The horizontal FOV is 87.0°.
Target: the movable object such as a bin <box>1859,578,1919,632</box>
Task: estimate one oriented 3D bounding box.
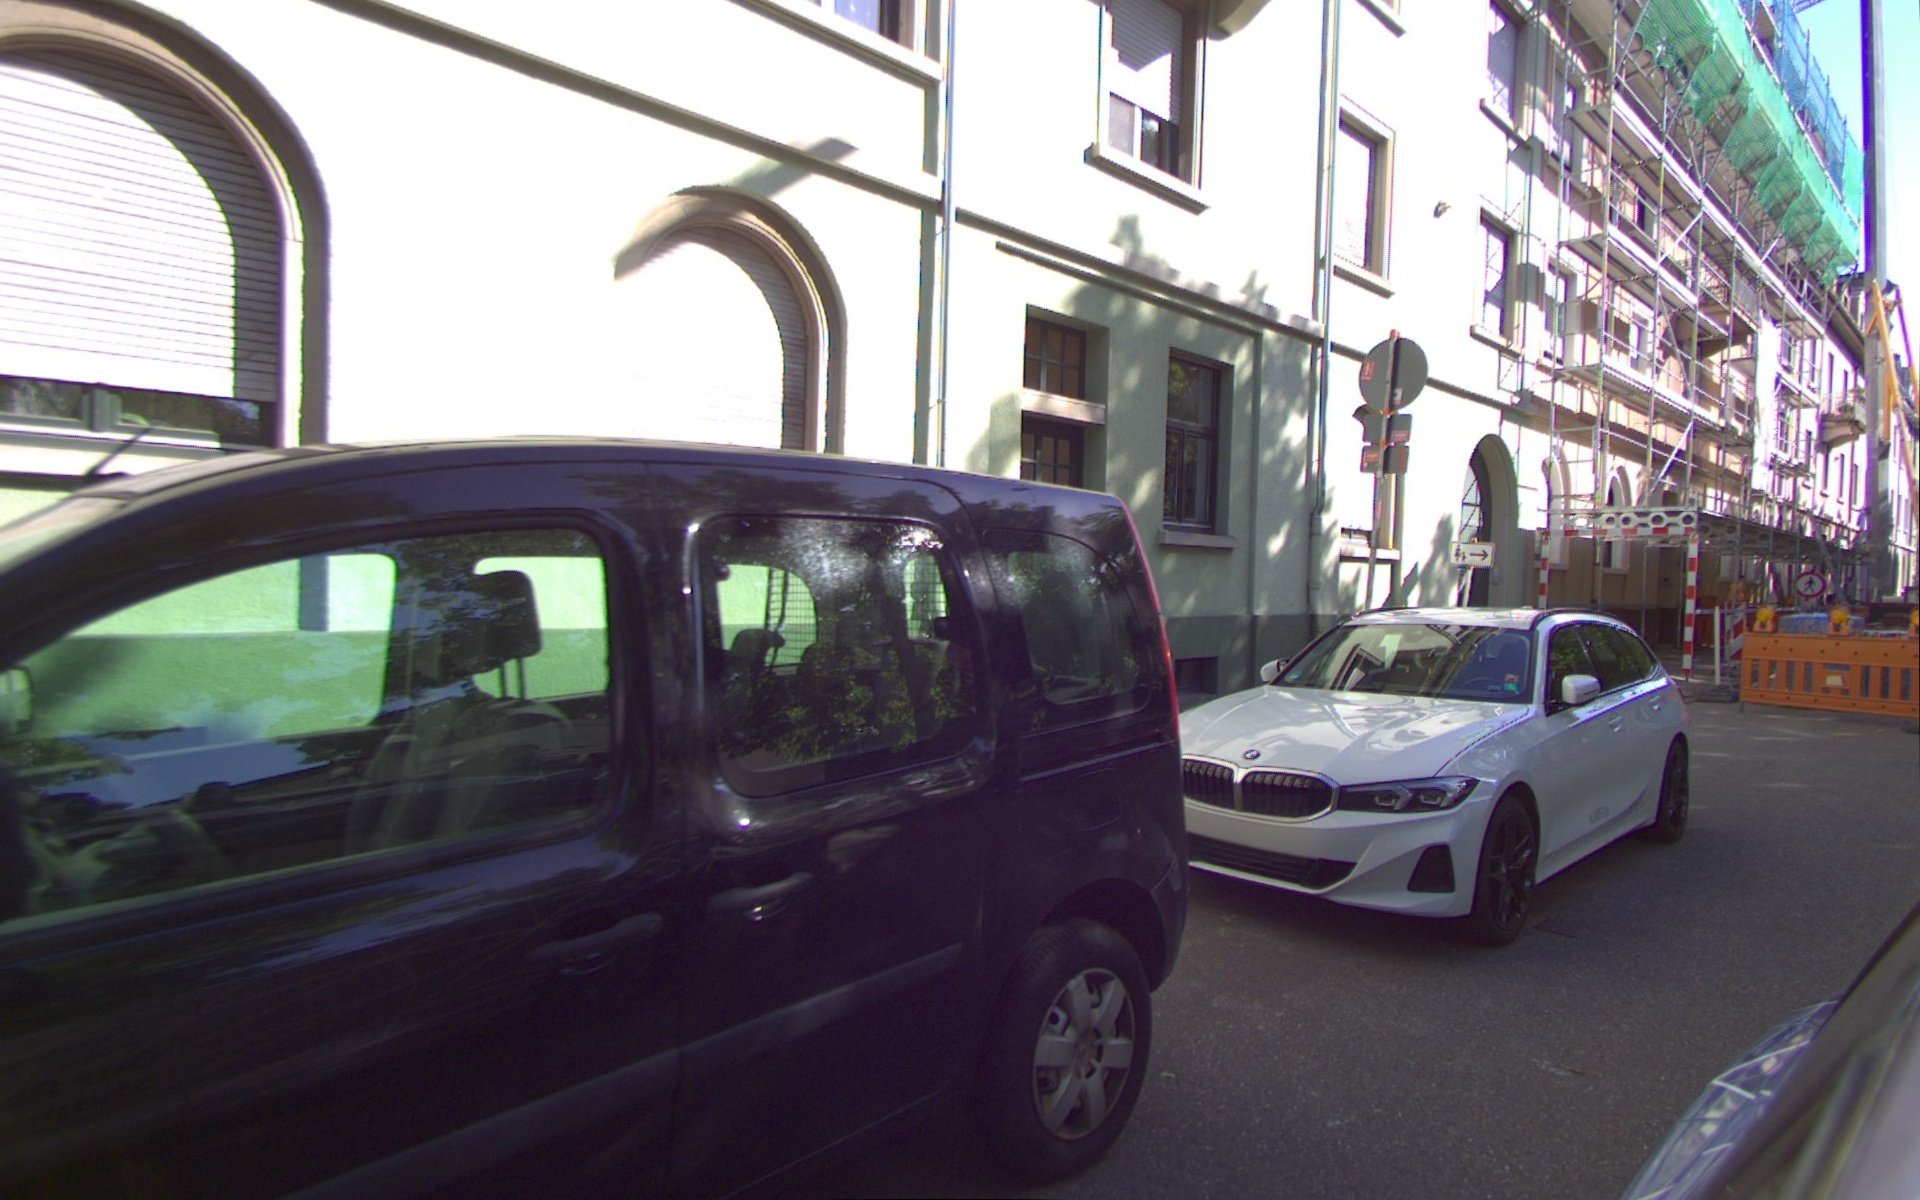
[{"bbox_3d":[29.051,0.166,30.787,1.594,1.545,1.881,2,2,-7],"label":"movable object such as a bin"}]

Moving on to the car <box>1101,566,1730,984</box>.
[{"bbox_3d":[2.854,0.626,5.829,4.210,1.530,1.708,0,3,-42],"label":"car"}]

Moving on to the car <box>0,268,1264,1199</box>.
[{"bbox_3d":[-1.167,0.494,2.278,3.923,1.816,1.774,0,3,-43],"label":"car"}]
